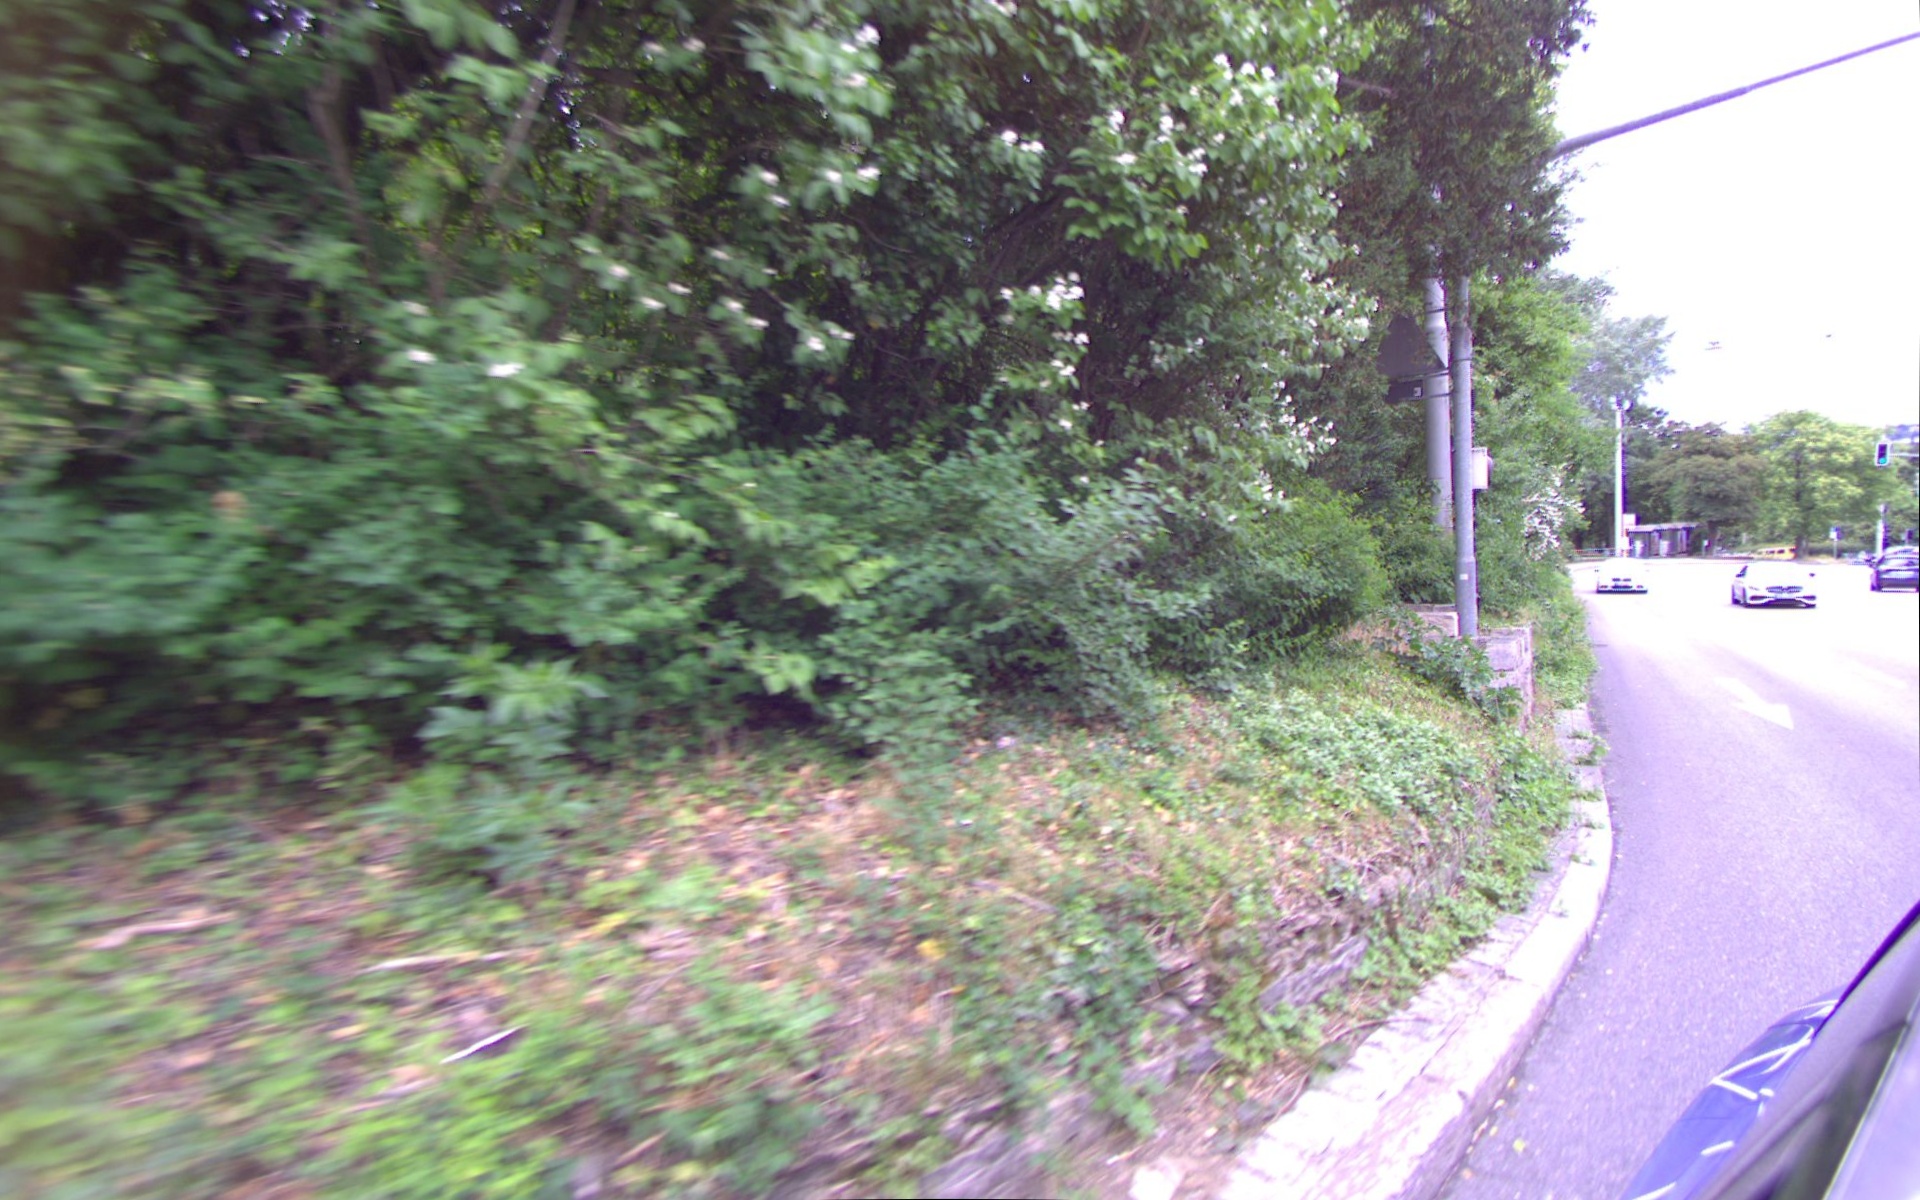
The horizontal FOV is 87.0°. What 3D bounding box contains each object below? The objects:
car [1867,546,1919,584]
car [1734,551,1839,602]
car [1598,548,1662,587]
[{"bbox_3d":[39.667,-1.478,42.472,1.686,1.510,3.760,-1,1,31],"label":"car"},{"bbox_3d":[26.419,-0.789,32.496,1.902,1.496,4.479,-1,2,30],"label":"car"},{"bbox_3d":[29.158,-1.460,44.163,1.901,1.570,4.483,0,3,29],"label":"car"}]
